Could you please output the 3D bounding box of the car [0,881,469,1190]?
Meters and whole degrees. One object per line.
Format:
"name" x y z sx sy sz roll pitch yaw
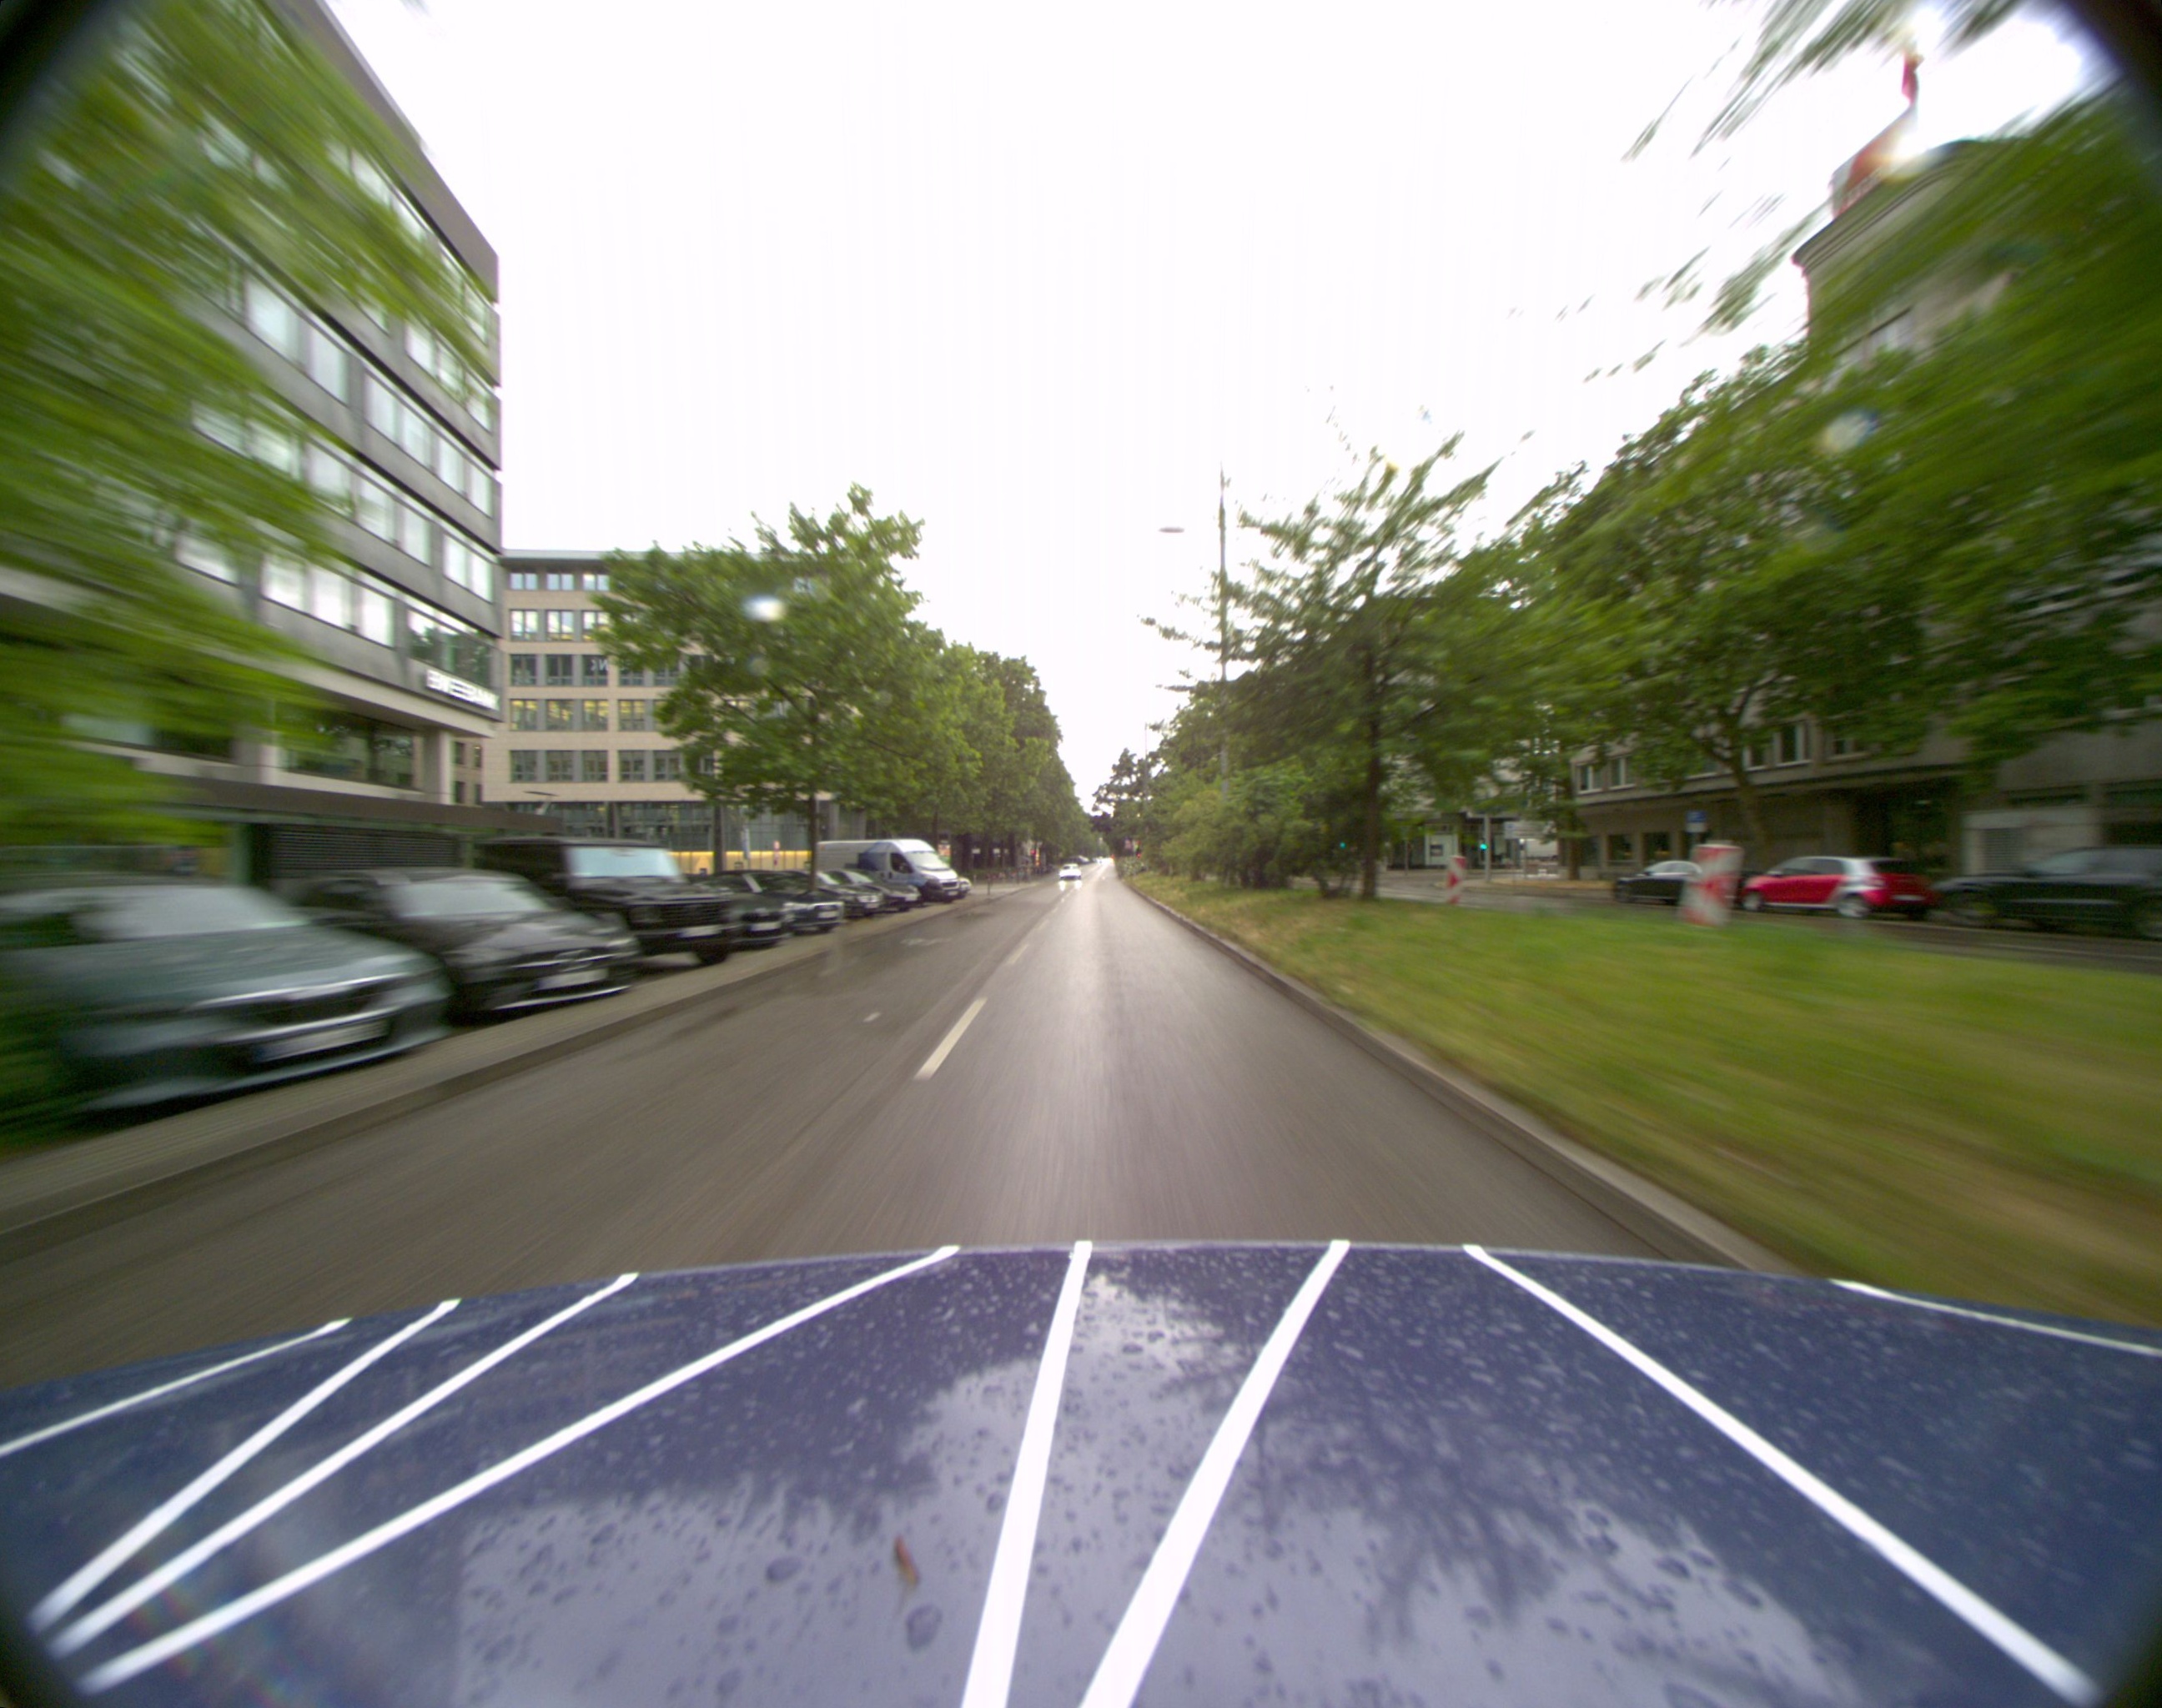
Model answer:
"car" -6.919 1.007 5.755 4.346 1.528 1.920 -1 0 27

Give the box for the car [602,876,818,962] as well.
"car" -7.203 1.161 14.682 4.051 1.416 1.740 -1 0 29

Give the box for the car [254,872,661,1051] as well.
"car" -7.048 1.007 8.540 4.380 1.528 1.920 -1 0 27

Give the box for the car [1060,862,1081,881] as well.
"car" -0.995 1.581 69.810 1.791 1.736 4.574 0 0 -2

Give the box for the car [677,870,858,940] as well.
"car" -7.253 1.119 17.511 4.003 1.416 1.712 -1 0 29

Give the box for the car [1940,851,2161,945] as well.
"car" 19.465 0.770 14.113 1.867 1.612 4.466 0 0 -2

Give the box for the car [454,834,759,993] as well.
"car" -7.189 0.778 11.422 4.506 1.981 1.925 -1 0 29

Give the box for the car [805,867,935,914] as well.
"car" -6.922 1.155 24.843 4.051 1.416 1.712 -1 0 29

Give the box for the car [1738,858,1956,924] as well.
"car" 18.985 0.855 19.085 1.690 1.493 3.692 0 0 -2

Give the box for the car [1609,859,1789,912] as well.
"car" 18.981 0.905 23.663 1.791 1.478 4.574 0 0 -2

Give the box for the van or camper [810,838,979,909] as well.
"van or camper" -7.064 0.716 28.534 6.249 2.432 2.320 -1 0 30

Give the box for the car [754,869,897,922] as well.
"car" -7.584 1.188 22.451 4.051 1.416 1.712 -1 0 29
